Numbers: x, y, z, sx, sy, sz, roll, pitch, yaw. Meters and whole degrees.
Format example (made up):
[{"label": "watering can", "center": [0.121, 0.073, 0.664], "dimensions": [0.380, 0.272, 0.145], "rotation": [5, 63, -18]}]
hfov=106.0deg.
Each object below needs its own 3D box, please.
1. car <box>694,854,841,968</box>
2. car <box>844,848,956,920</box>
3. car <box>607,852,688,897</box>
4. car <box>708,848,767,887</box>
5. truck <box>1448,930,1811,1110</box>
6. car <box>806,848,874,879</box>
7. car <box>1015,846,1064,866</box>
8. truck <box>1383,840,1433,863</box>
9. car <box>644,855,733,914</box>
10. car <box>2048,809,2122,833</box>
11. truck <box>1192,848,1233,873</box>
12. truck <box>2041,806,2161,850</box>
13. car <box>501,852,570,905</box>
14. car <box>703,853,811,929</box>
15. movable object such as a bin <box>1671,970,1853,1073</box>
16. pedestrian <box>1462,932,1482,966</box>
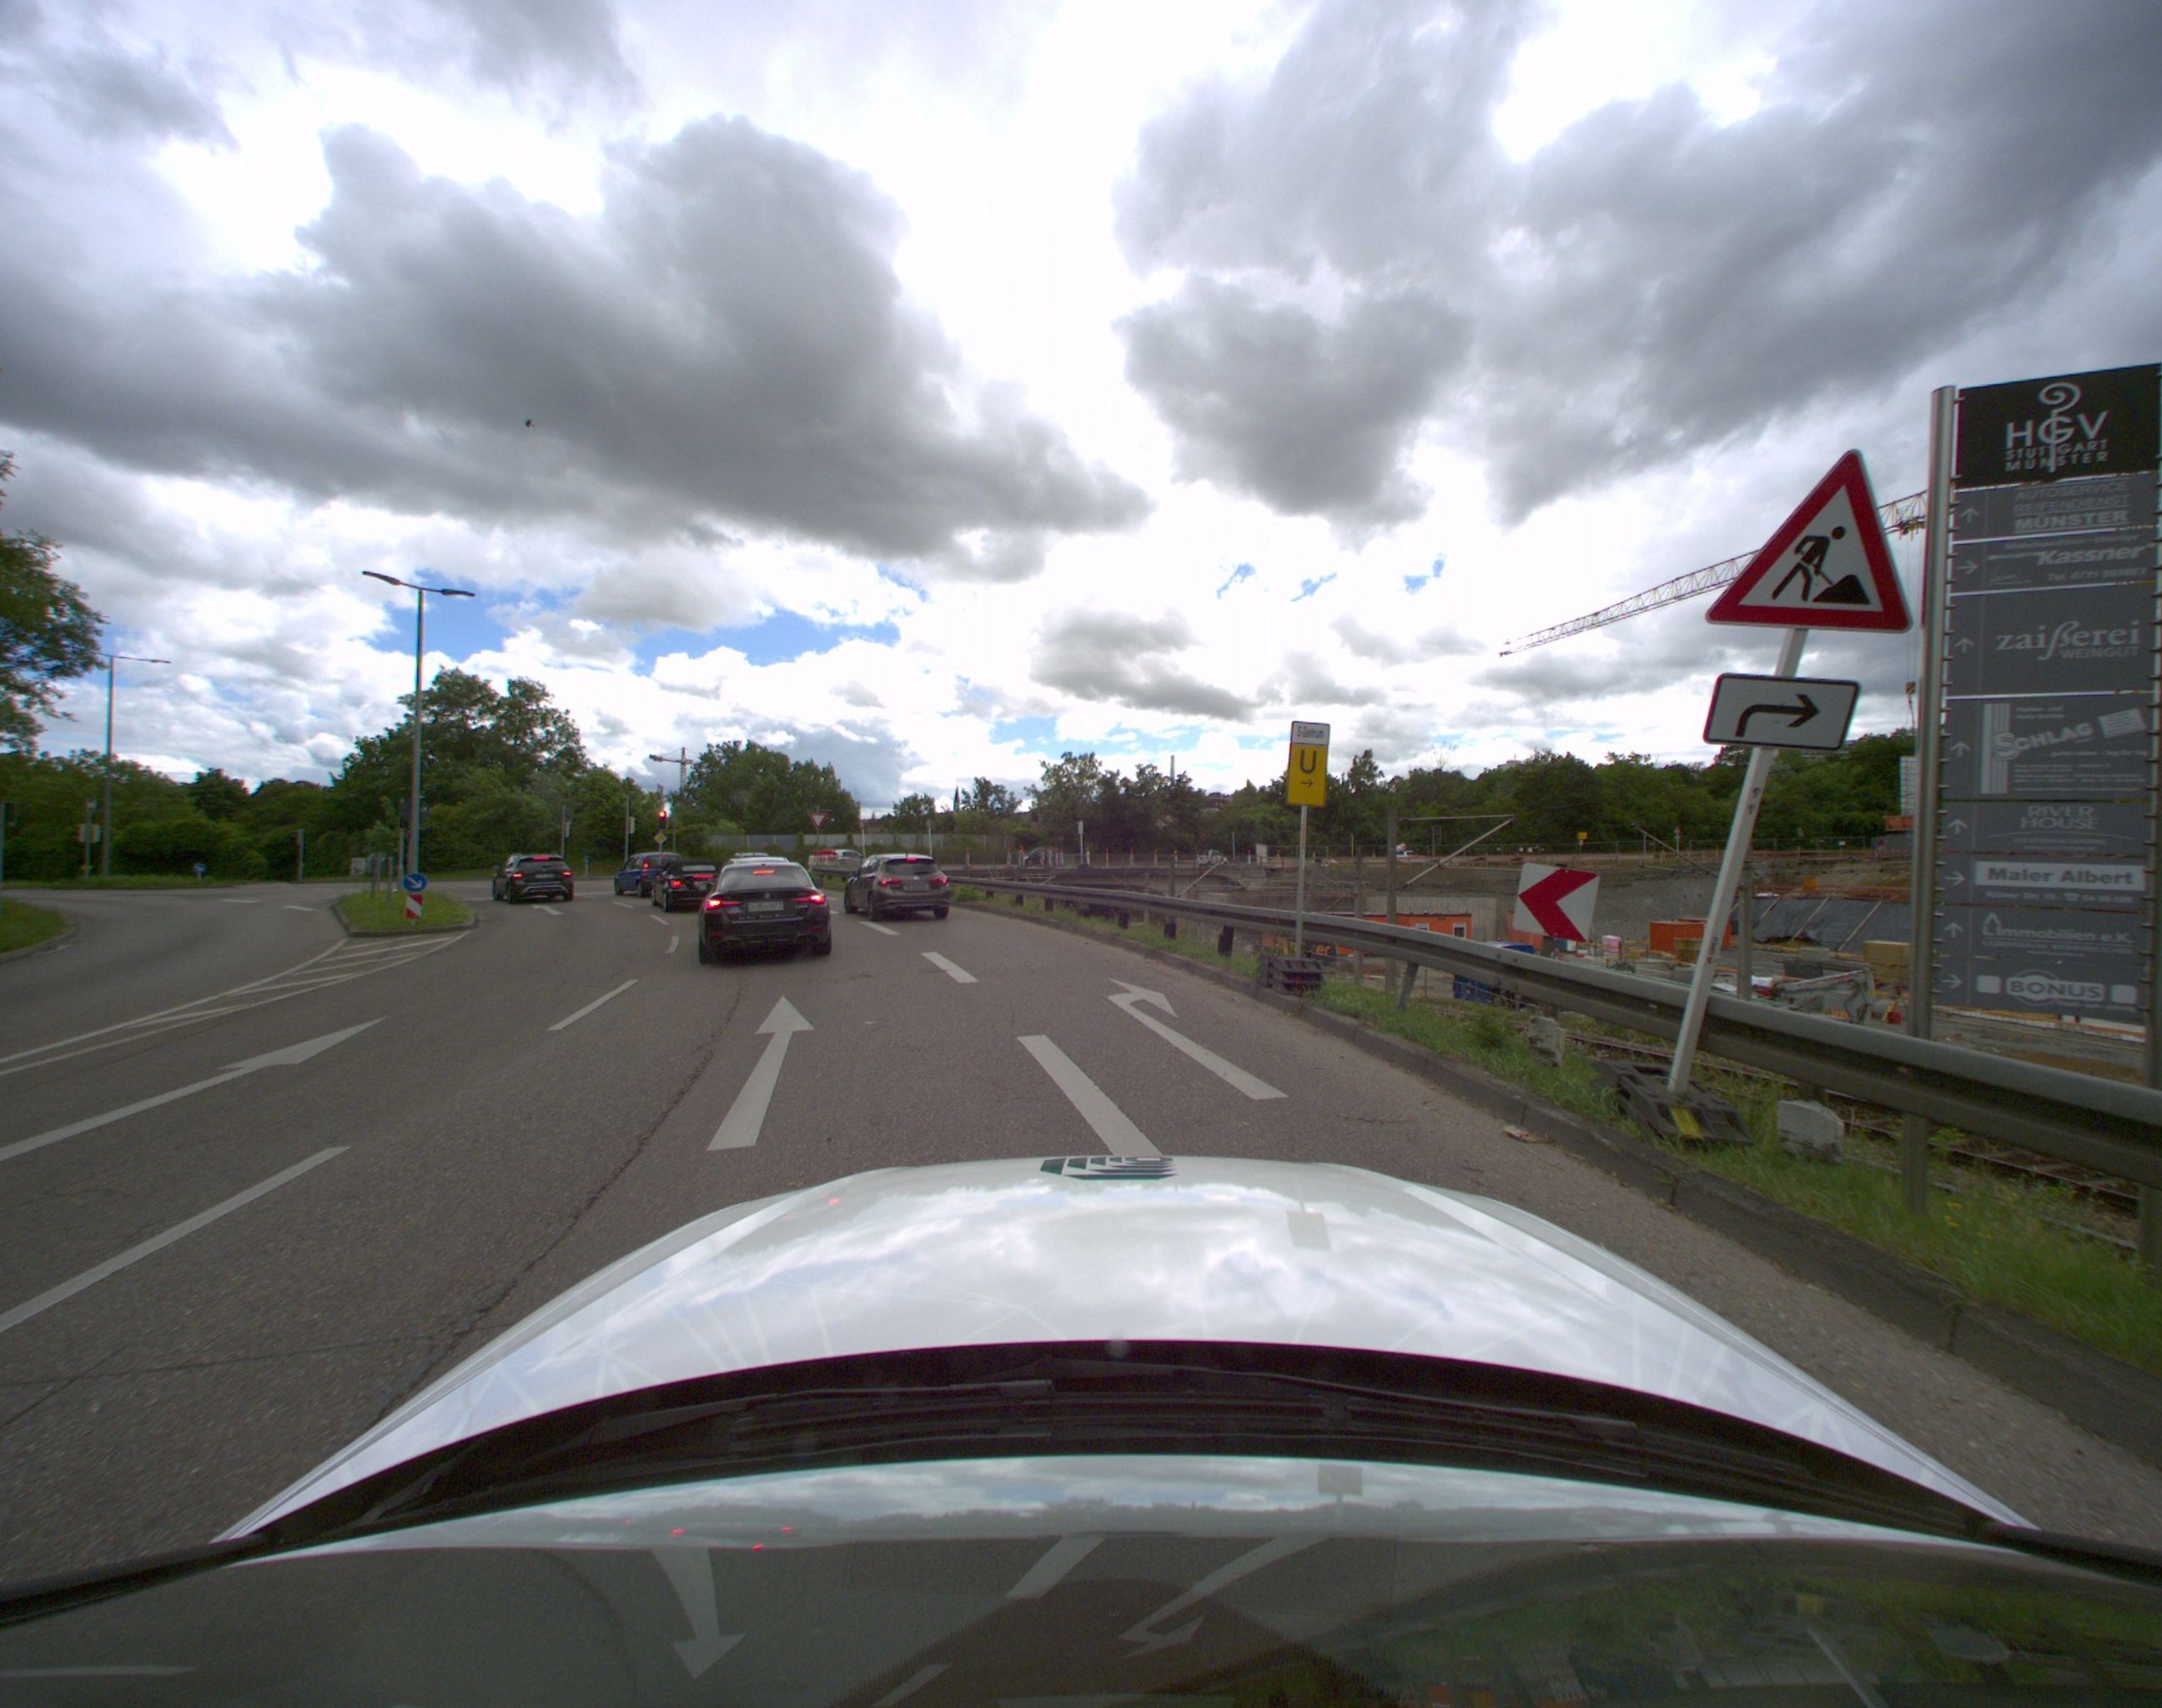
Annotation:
[{"label": "car", "center": [-5.301, 0.776, 13.683], "dimensions": [1.881, 1.476, 4.926], "rotation": [-2, 1, -23]}, {"label": "car", "center": [-4.516, 0.655, 19.893], "dimensions": [1.807, 1.552, 3.966], "rotation": [-1, 0, -26]}, {"label": "car", "center": [-15.435, 0.692, 28.948], "dimensions": [3.338, 1.507, 1.557], "rotation": [0, 1, 44]}, {"label": "car", "center": [-14.523, 0.535, 34.344], "dimensions": [1.831, 1.552, 3.752], "rotation": [0, 0, -31]}, {"label": "truck", "center": [18.801, 5.377, 29.567], "dimensions": [2.846, 3.893, 11.548], "rotation": [1, 1, -19]}, {"label": "car", "center": [-13.891, 0.578, 47.181], "dimensions": [1.697, 1.675, 4.020], "rotation": [-1, -2, 20]}, {"label": "car", "center": [-3.516, 0.186, 68.985], "dimensions": [3.801, 1.552, 1.627], "rotation": [-1, -2, -31]}, {"label": "truck", "center": [31.142, -0.208, 77.581], "dimensions": [3.986, 2.014, 1.994], "rotation": [3, -1, -9]}, {"label": "car", "center": [-11.218, 0.790, 23.140], "dimensions": [1.575, 1.368, 4.039], "rotation": [-3, 3, -36]}, {"label": "car", "center": [90.619, -2.994, 73.537], "dimensions": [3.968, 2.014, 2.002], "rotation": [0, -2, 4]}, {"label": "truck", "center": [11.512, 0.580, 71.322], "dimensions": [3.239, 2.014, 1.722], "rotation": [3, -1, -34]}, {"label": "truck", "center": [100.501, -2.520, 79.495], "dimensions": [9.726, 4.220, 3.121], "rotation": [0, 0, 1]}, {"label": "car", "center": [-18.026, 0.746, 26.846], "dimensions": [1.669, 1.507, 3.728], "rotation": [-3, 2, -37]}, {"label": "car", "center": [-7.466, 0.767, 18.596], "dimensions": [1.679, 1.469, 3.593], "rotation": [-3, 2, -31]}, {"label": "movable object such as a bin", "center": [24.700, 5.991, 29.815], "dimensions": [3.029, 2.749, 4.285], "rotation": [0, 2, -2]}, {"label": "pedestrian", "center": [24.027, 5.818, 50.062], "dimensions": [0.803, 2.014, 0.699], "rotation": [4, -3, -18]}]
